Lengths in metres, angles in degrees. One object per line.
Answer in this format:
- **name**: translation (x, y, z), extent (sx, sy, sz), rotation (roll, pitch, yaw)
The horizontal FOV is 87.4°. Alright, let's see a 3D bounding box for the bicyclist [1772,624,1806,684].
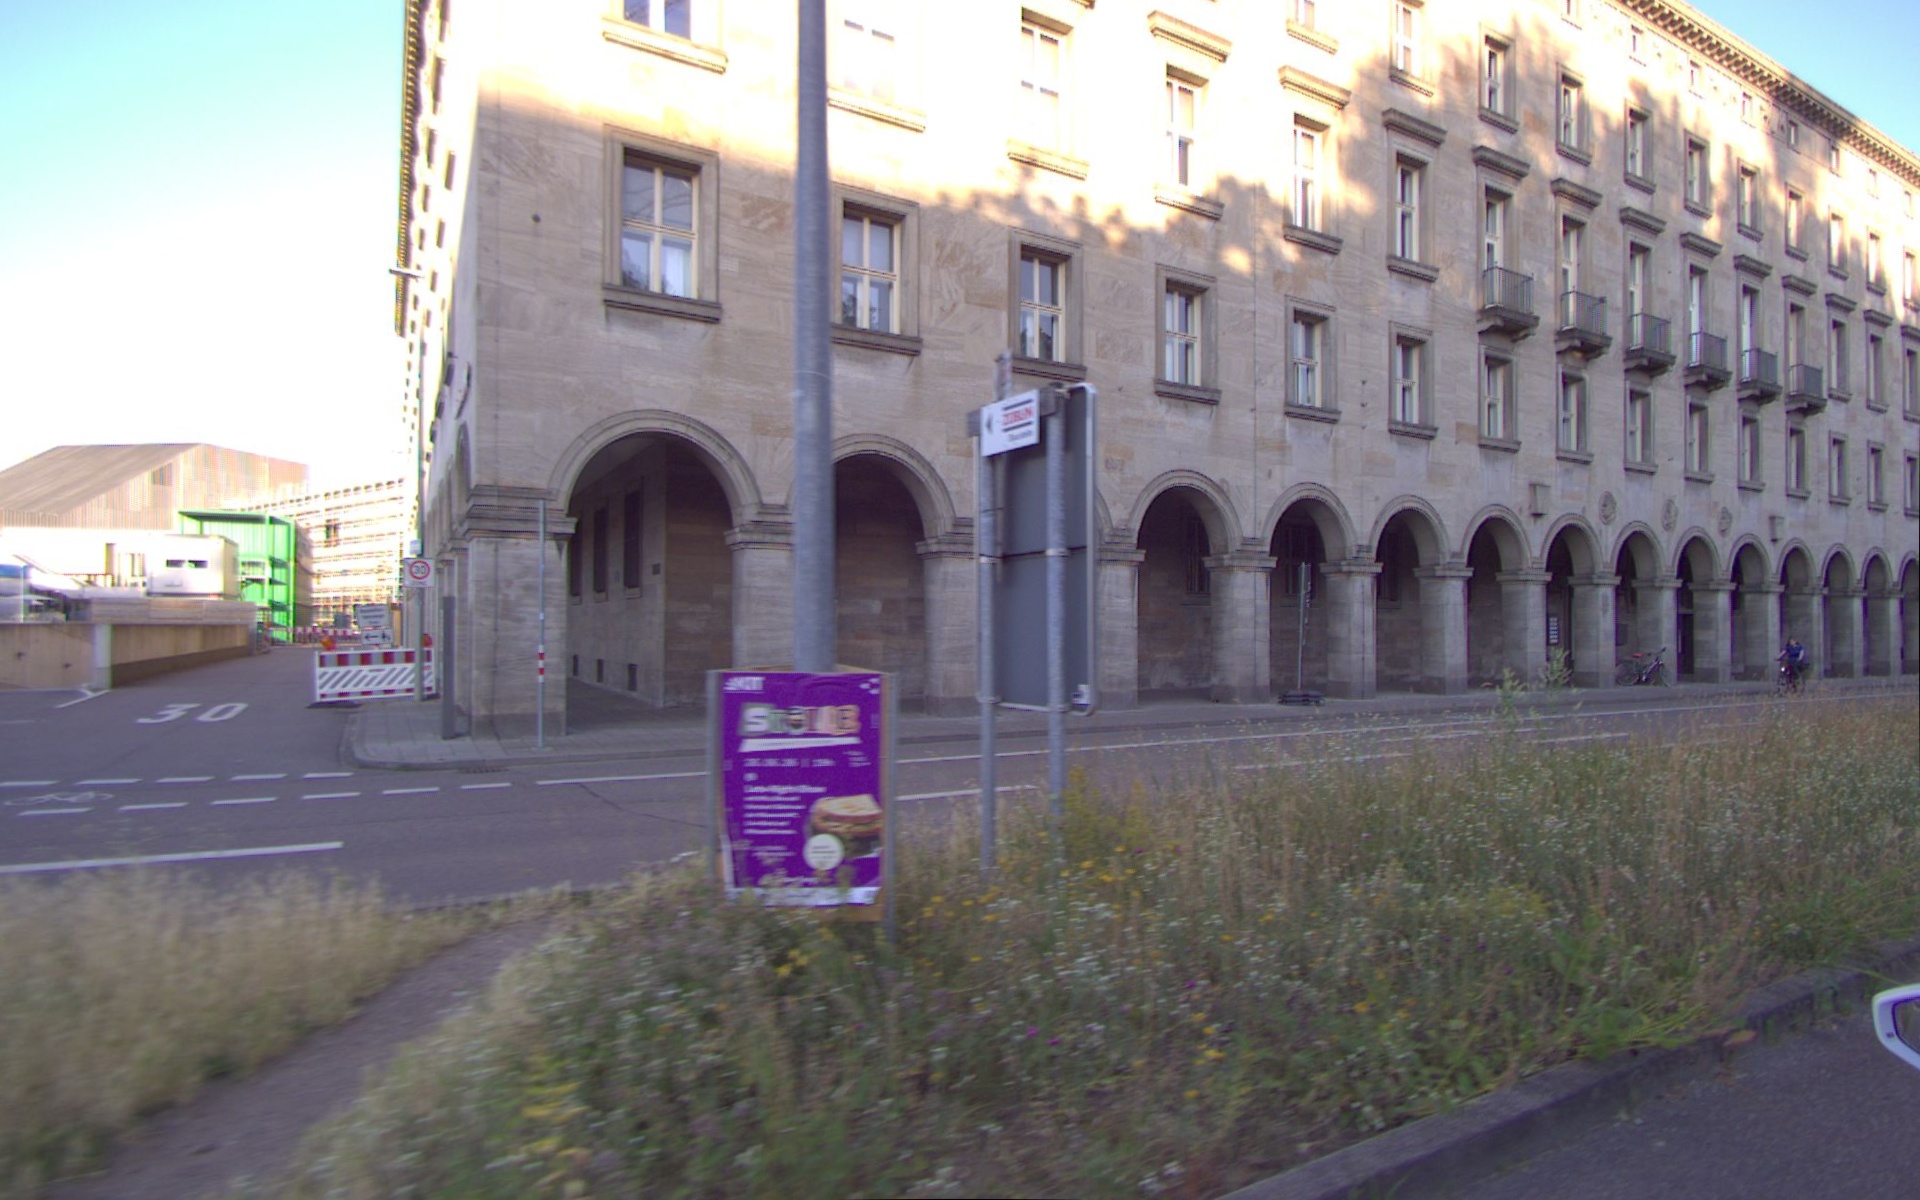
- **bicyclist**: translation (24.127, 1.569, 29.241), extent (0.740, 1.715, 0.534), rotation (1, -2, -30)

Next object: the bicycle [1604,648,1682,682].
- **bicycle**: translation (20.739, 1.963, 30.513), extent (1.964, 1.019, 0.479), rotation (0, -1, 6)

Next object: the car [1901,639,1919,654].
- **car**: translation (72.341, 3.543, 76.167), extent (2.493, 1.088, 0.849), rotation (1, -2, -32)

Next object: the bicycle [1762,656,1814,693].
- **bicycle**: translation (24.081, 2.140, 29.208), extent (1.982, 1.019, 0.539), rotation (1, -2, -31)

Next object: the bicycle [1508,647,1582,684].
- **bicycle**: translation (16.378, 1.828, 28.111), extent (1.970, 1.019, 0.477), rotation (1, -1, -12)
